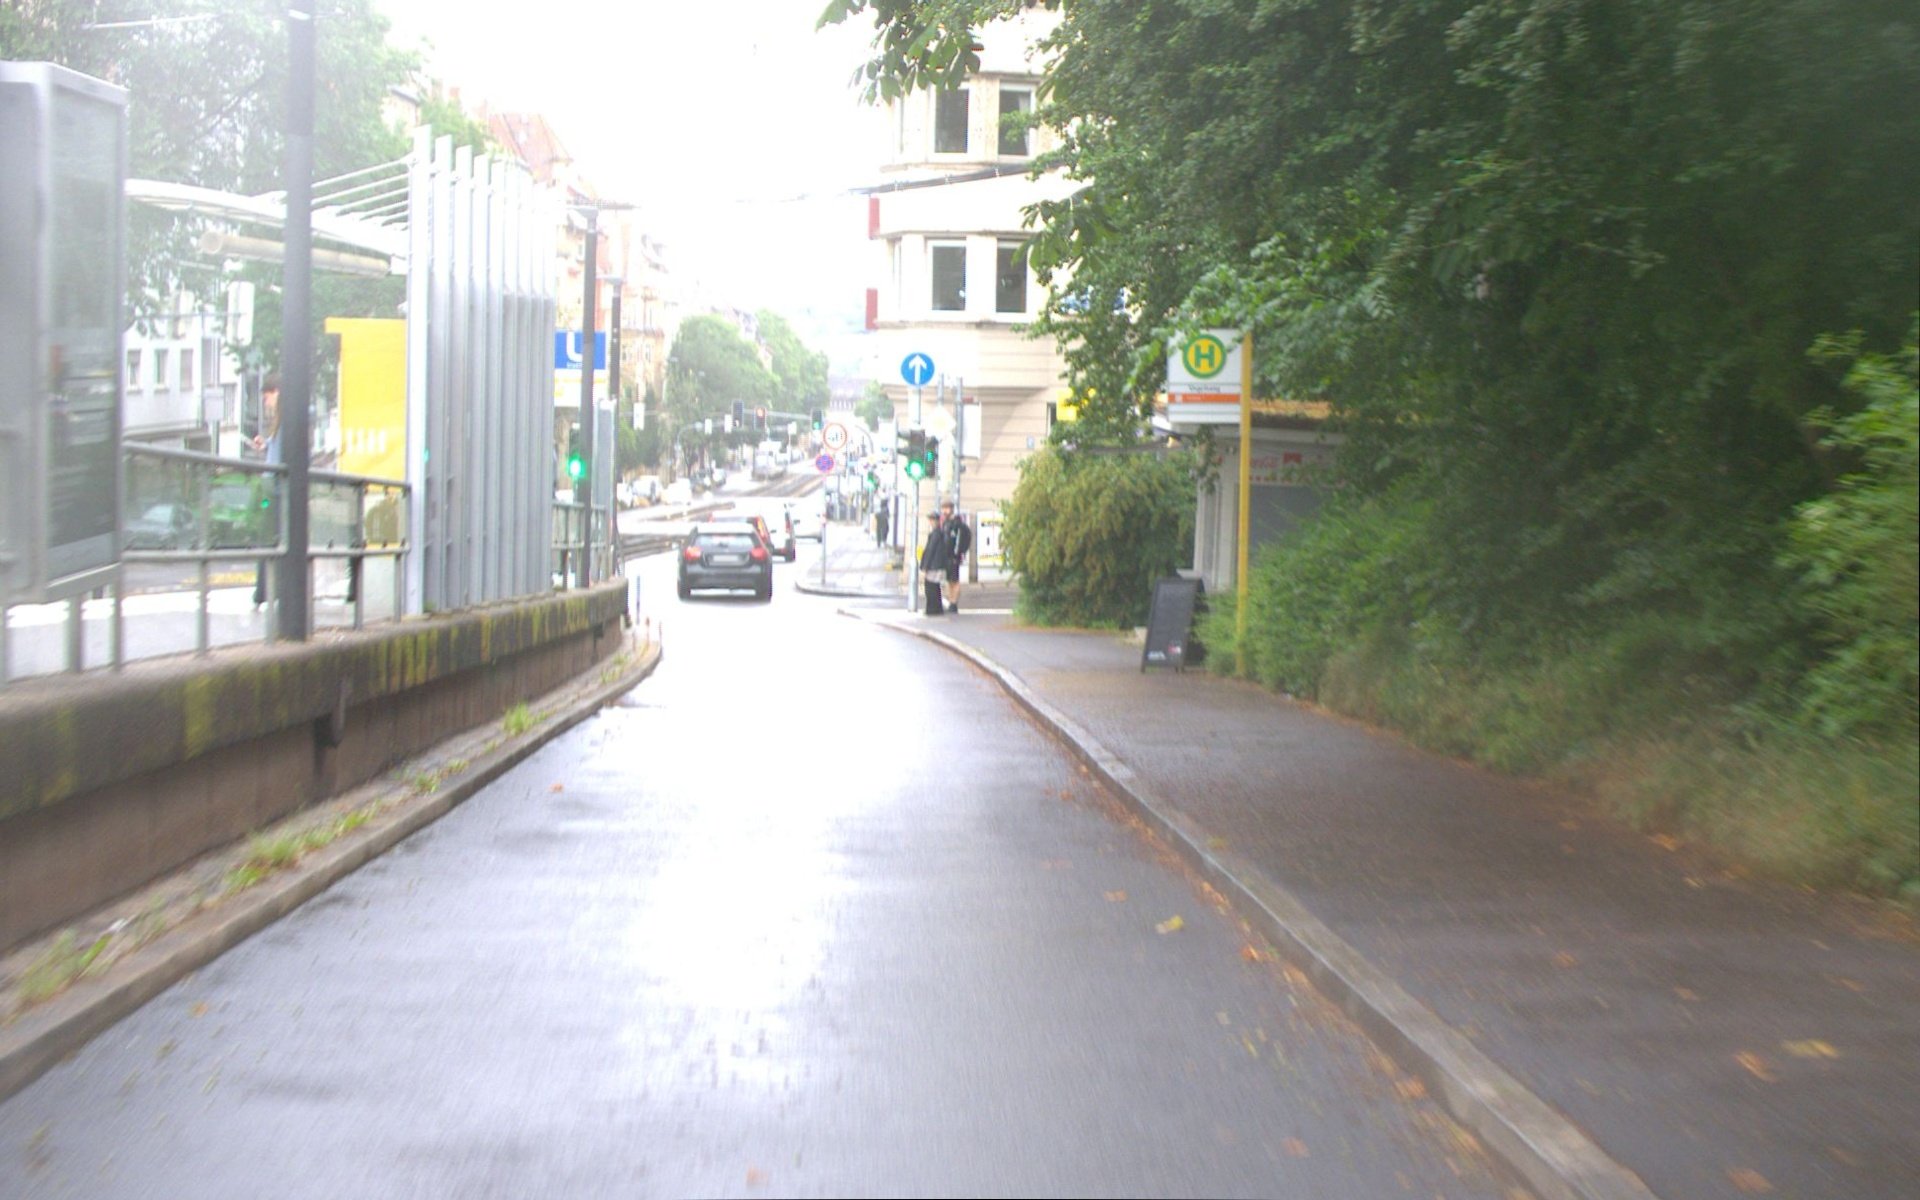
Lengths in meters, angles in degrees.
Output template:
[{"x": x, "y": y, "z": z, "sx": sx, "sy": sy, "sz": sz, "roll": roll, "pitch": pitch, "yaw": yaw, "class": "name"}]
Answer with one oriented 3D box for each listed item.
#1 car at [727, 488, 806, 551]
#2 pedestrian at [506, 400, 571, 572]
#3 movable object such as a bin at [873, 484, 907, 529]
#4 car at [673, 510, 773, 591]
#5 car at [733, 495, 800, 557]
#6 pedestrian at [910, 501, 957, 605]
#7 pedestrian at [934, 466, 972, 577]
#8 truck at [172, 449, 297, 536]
[{"x": -4.710, "y": -1.964, "z": 83.828, "sx": 1.851, "sy": 1.468, "sz": 4.001, "roll": 1, "pitch": 1, "yaw": -3, "class": "car"}, {"x": -4.506, "y": -1.218, "z": 36.789, "sx": 0.589, "sy": 1.801, "sz": 0.661, "roll": 2, "pitch": 1, "yaw": -3, "class": "pedestrian"}, {"x": -2.617, "y": -3.493, "z": 128.083, "sx": 1.167, "sy": 1.649, "sz": 1.309, "roll": -1, "pitch": 2, "yaw": -5, "class": "movable object such as a bin"}, {"x": -4.557, "y": -0.974, "z": 66.502, "sx": 1.851, "sy": 1.468, "sz": 4.001, "roll": 0, "pitch": 2, "yaw": -3, "class": "car"}, {"x": -5.790, "y": -2.233, "z": 102.966, "sx": 1.948, "sy": 1.786, "sz": 4.145, "roll": 1, "pitch": 1, "yaw": -3, "class": "car"}, {"x": -0.437, "y": -0.773, "z": 56.256, "sx": 0.695, "sy": 1.689, "sz": 0.556, "roll": 1, "pitch": 1, "yaw": -5, "class": "pedestrian"}, {"x": -0.124, "y": -1.298, "z": 56.891, "sx": 0.553, "sy": 1.807, "sz": 0.651, "roll": 1, "pitch": 1, "yaw": -4, "class": "pedestrian"}, {"x": -20.642, "y": -3.062, "z": 98.065, "sx": 2.051, "sy": 2.384, "sz": 6.321, "roll": 0, "pitch": 2, "yaw": 2, "class": "truck"}]
